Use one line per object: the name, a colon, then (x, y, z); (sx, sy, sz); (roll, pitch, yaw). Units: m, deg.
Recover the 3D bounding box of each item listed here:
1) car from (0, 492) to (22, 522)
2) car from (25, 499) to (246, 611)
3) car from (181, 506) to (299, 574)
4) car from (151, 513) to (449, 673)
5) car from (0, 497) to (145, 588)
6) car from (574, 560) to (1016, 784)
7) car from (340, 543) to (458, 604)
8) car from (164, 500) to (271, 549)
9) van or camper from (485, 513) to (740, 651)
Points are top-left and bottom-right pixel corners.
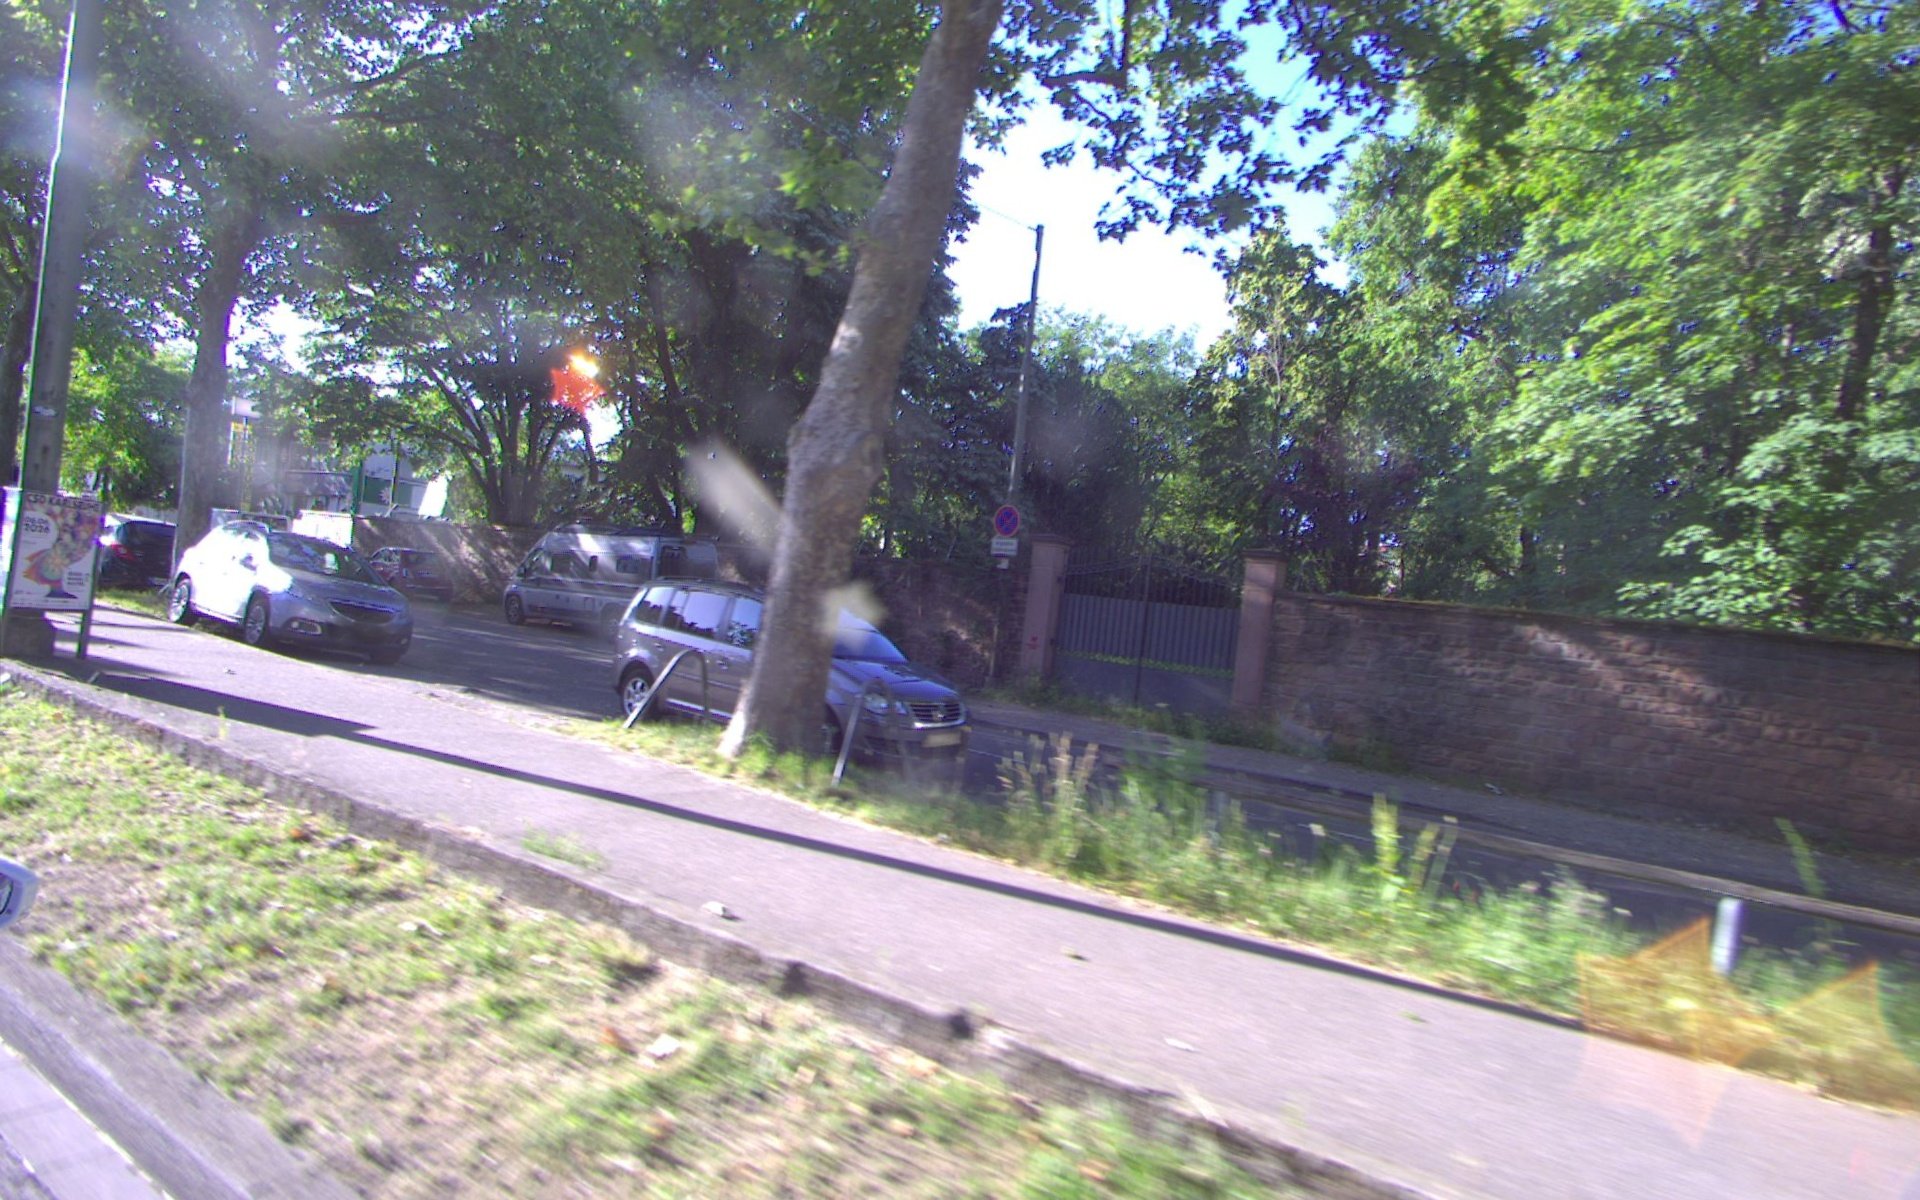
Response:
car: (-58.462, -5.747, 60.510); (3.935, 1.659, 1.997); (6, -2, 33)
car: (-14.287, -0.794, 17.391); (3.821, 1.454, 1.796); (6, -2, 33)
car: (-27.205, -2.271, 37.968); (4.866, 2.038, 2.087); (6, -1, 36)
car: (-8.833, -0.125, 13.376); (3.957, 1.577, 1.796); (6, -4, 35)
car: (-18.798, -1.256, 20.585); (4.603, 1.397, 1.997); (6, -3, 35)
car: (-1.881, 0.651, 10.621); (4.556, 1.653, 1.794); (6, -2, 36)
car: (-16.819, -0.802, 30.130); (3.701, 1.491, 1.688); (6, 2, 37)
car: (-39.599, -3.996, 53.718); (1.819, 1.872, 4.091); (6, -2, 32)
van or camper: (-8.660, -0.500, 24.701); (6.463, 2.720, 2.554); (7, 2, 36)
